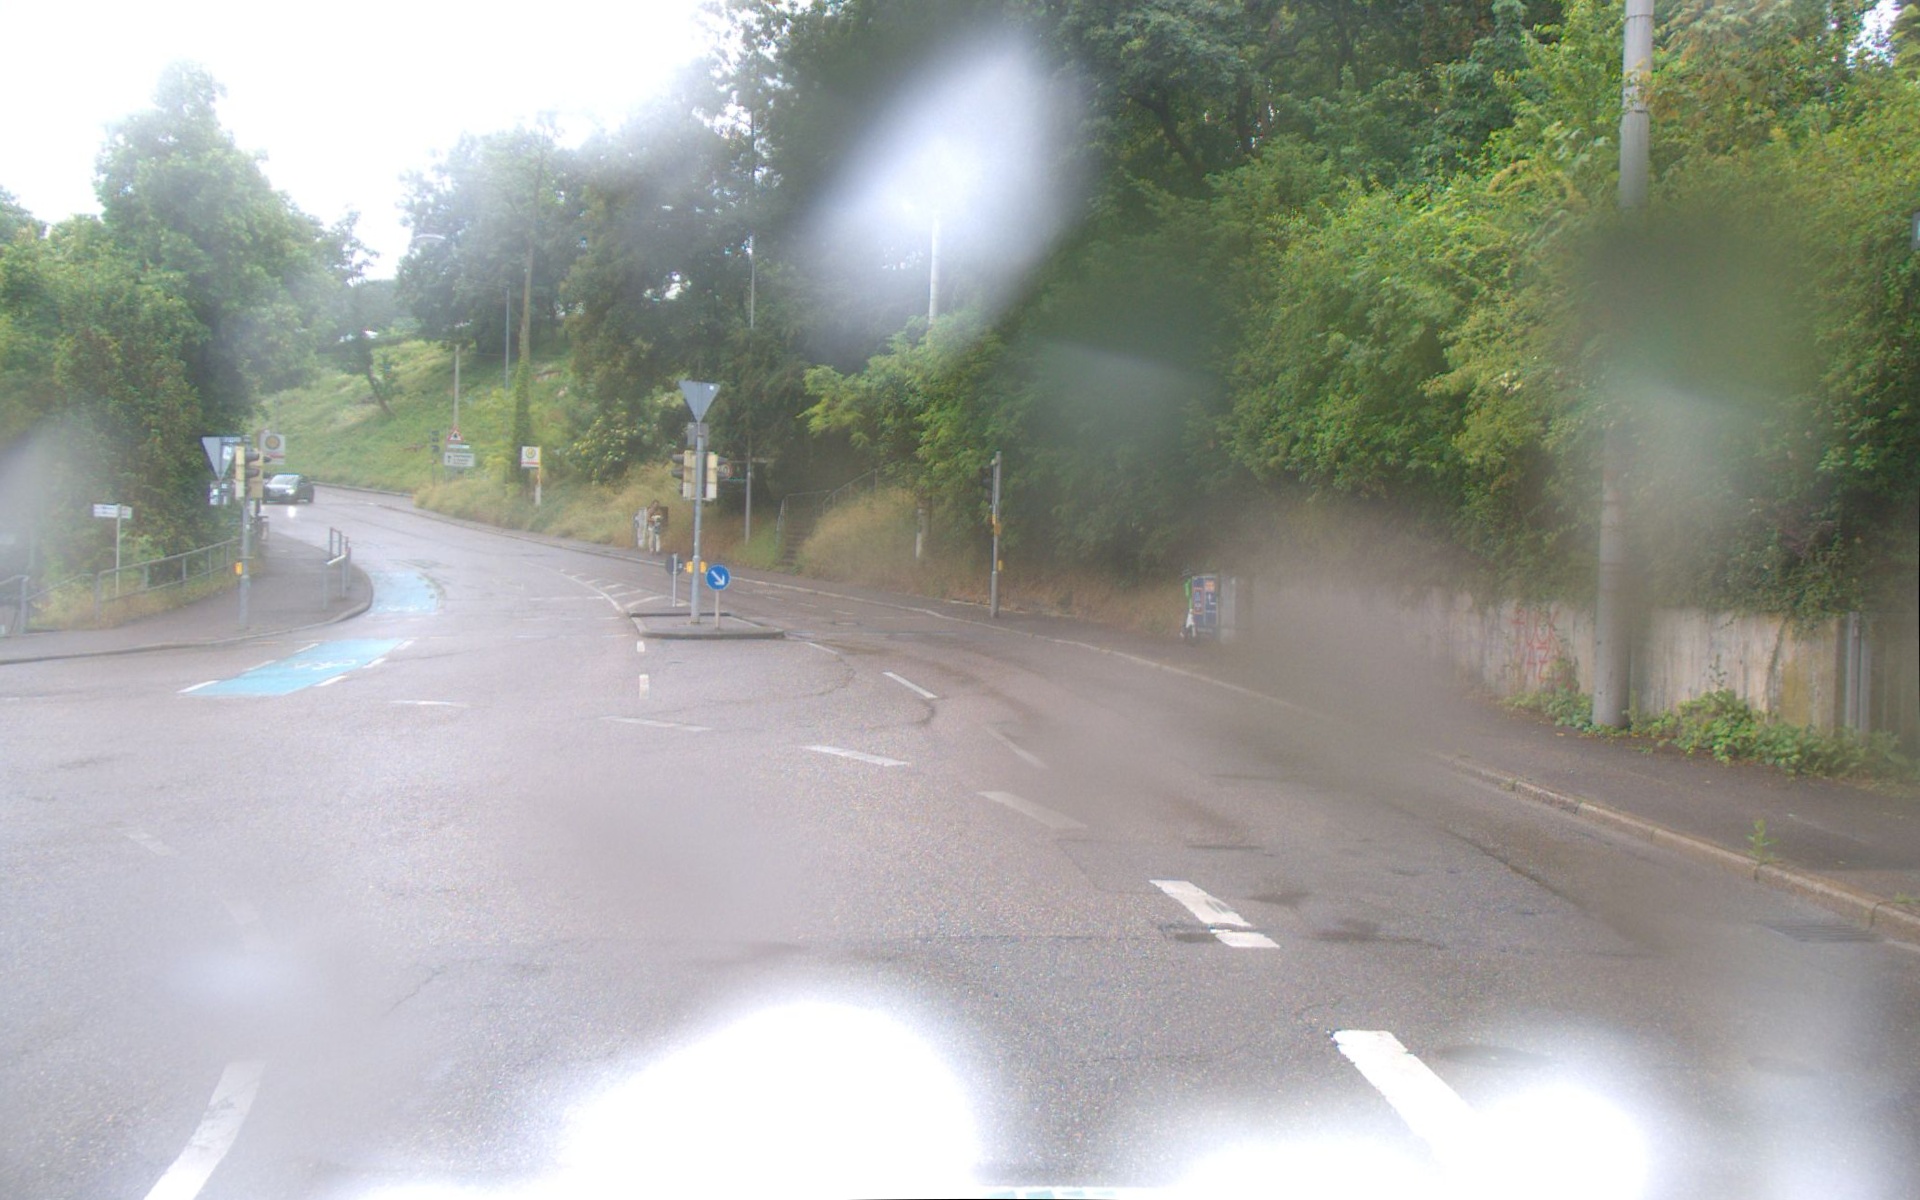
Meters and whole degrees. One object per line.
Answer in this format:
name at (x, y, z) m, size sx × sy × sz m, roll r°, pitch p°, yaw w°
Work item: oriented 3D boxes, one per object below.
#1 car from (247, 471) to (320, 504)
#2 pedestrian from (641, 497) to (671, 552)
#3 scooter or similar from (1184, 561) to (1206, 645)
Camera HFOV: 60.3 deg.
car at (-34.950, -5.798, 85.520) m, size 1.916 × 1.538 × 4.406 m, roll 2°, pitch 3°, yaw 0°
pedestrian at (-10.065, -2.491, 54.735) m, size 0.867 × 1.767 × 0.861 m, roll 1°, pitch -1°, yaw -18°
scooter or similar at (3.768, 0.033, 26.530) m, size 0.315 × 1.302 × 0.752 m, roll 0°, pitch 3°, yaw 7°
